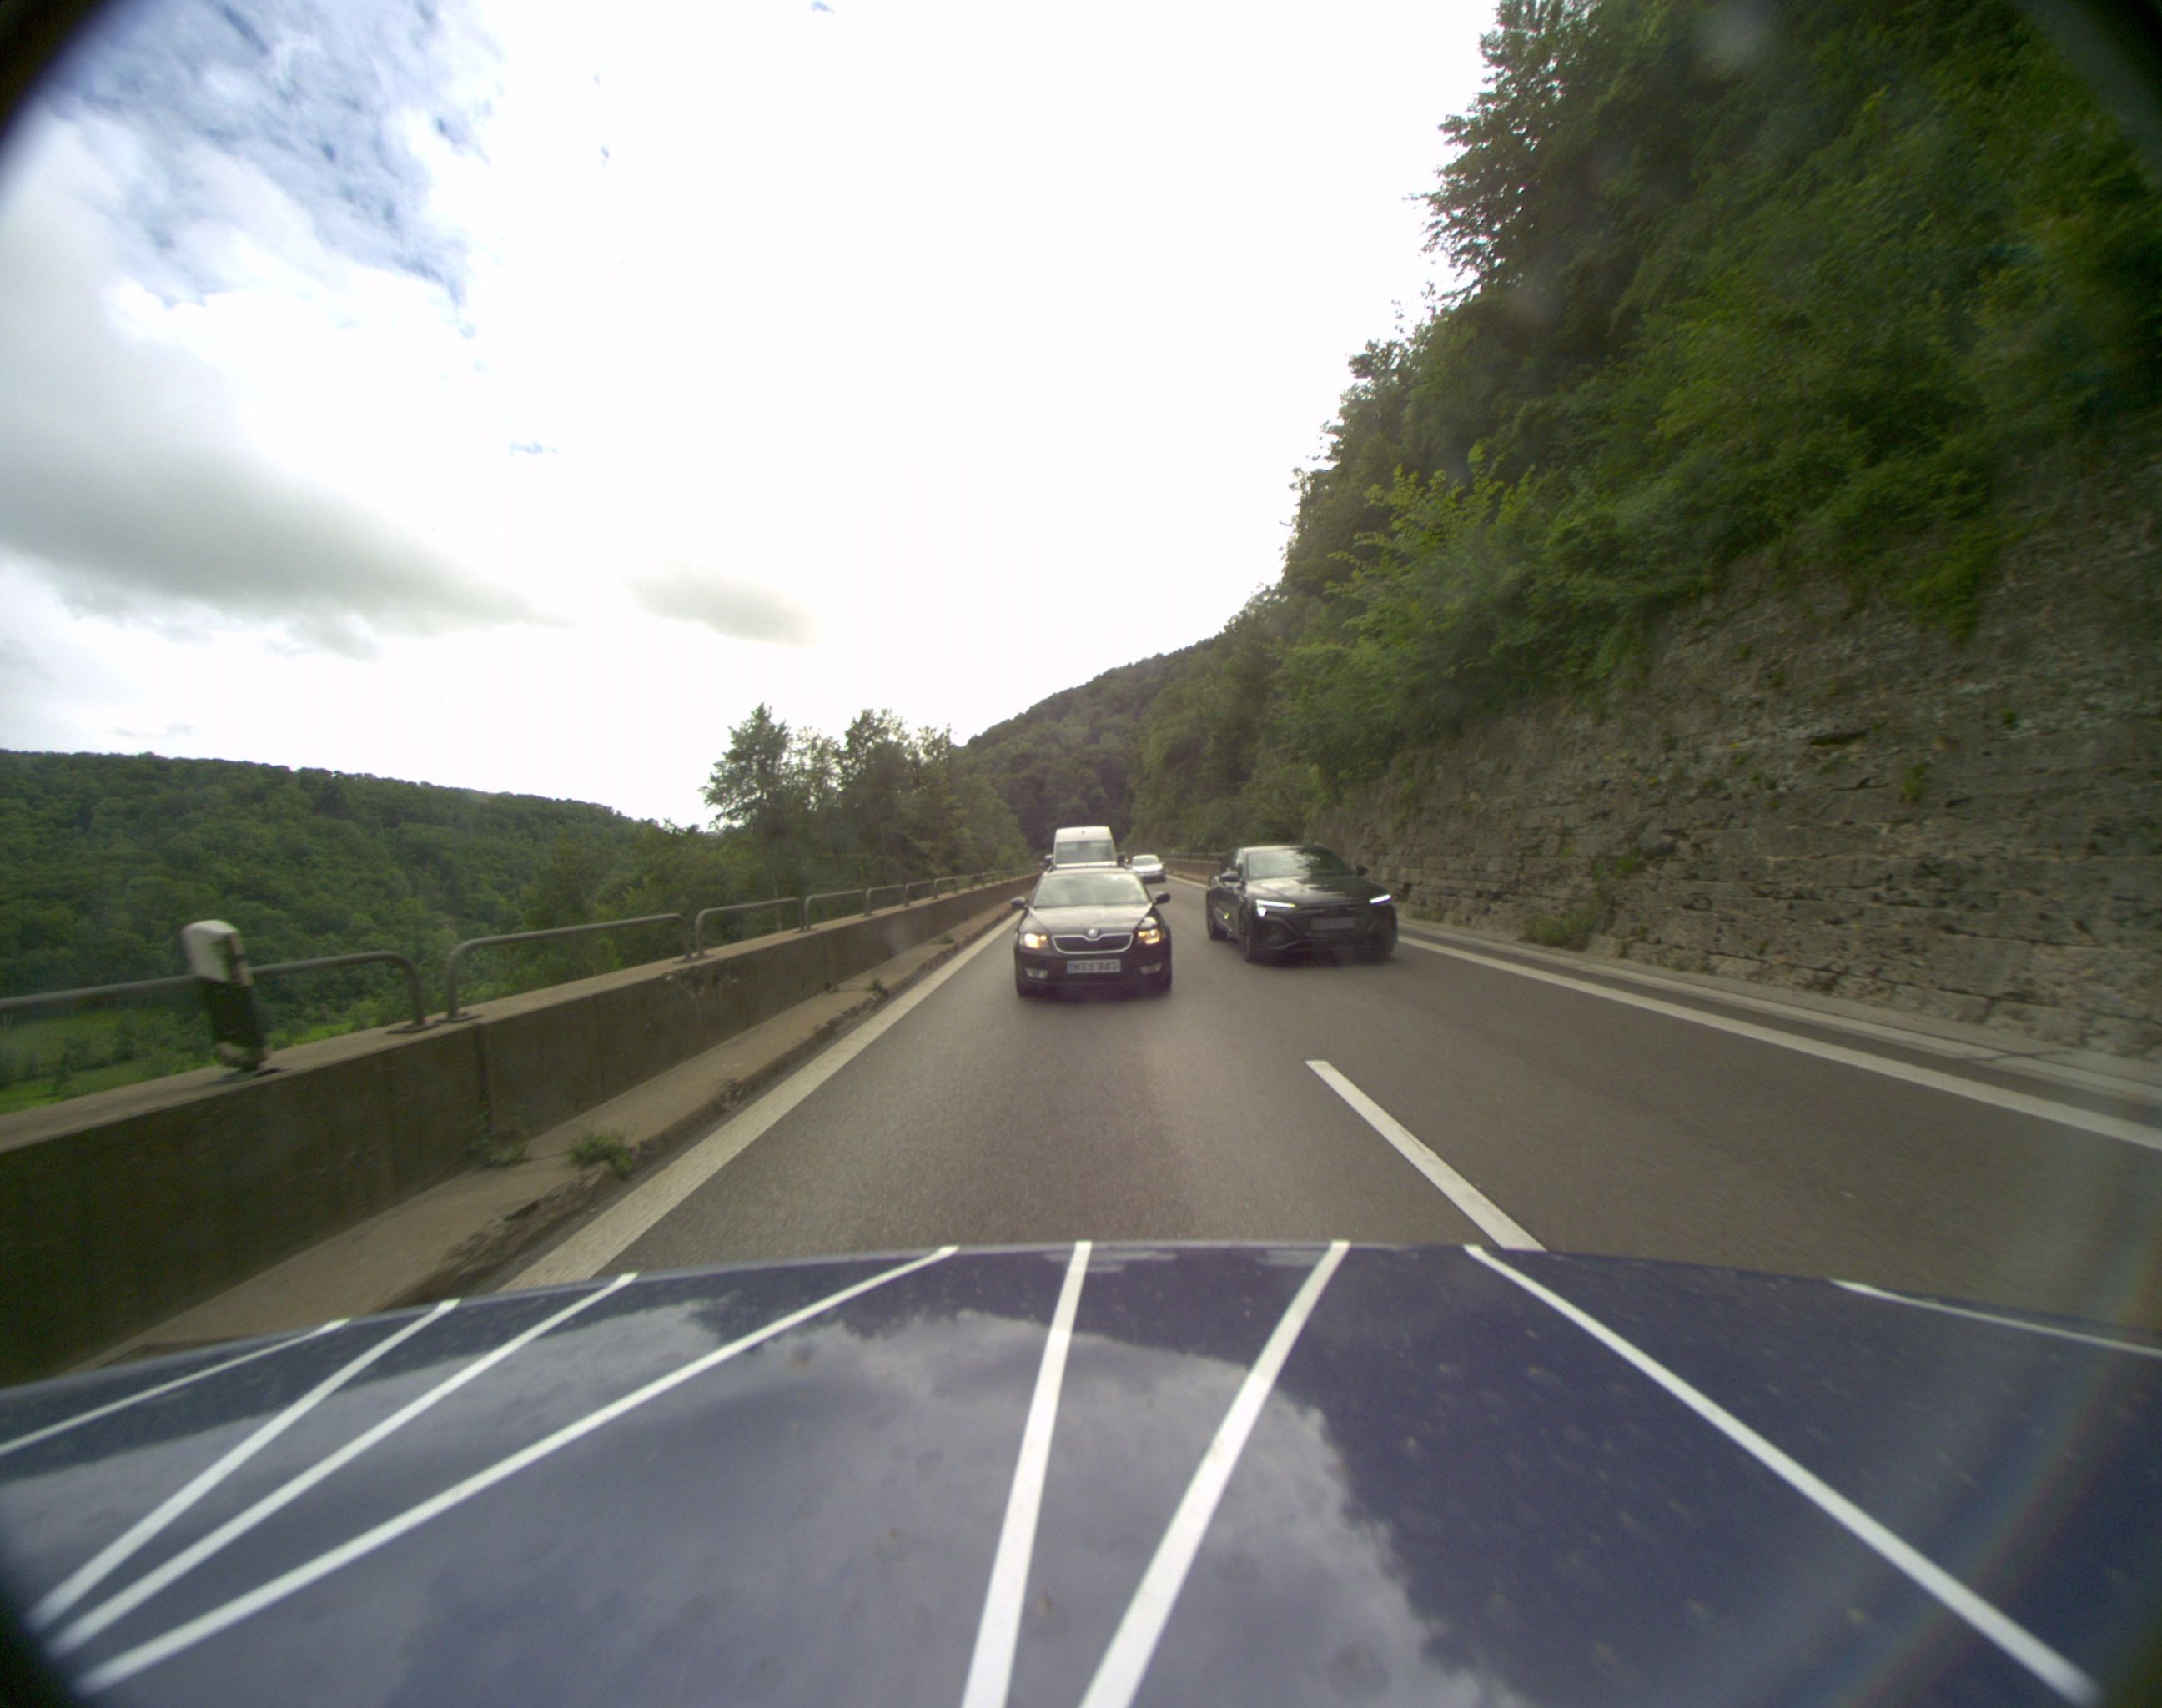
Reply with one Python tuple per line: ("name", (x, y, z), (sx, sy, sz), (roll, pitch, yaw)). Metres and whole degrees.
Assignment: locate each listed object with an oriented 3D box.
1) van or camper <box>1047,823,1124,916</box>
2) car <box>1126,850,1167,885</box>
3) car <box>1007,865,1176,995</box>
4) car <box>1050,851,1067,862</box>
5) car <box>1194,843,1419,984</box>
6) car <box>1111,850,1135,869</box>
("van or camper", (0.122, 0.456, 24.721), (2.081, 2.575, 5.911), (-3, 0, 0))
("car", (3.416, 0.652, 40.297), (1.685, 1.506, 4.583), (-7, 1, 1))
("car", (0.155, 0.965, 11.779), (1.998, 1.389, 5.008), (-3, 0, 1))
("car", (-4.565, 0.544, 156.366), (2.001, 2.002, 3.993), (-8, 1, -23))
("car", (3.134, 0.717, 11.807), (1.998, 1.622, 5.008), (-3, 0, 1))
("car", (4.047, 0.503, 73.790), (1.813, 1.646, 4.582), (-6, 0, -2))
